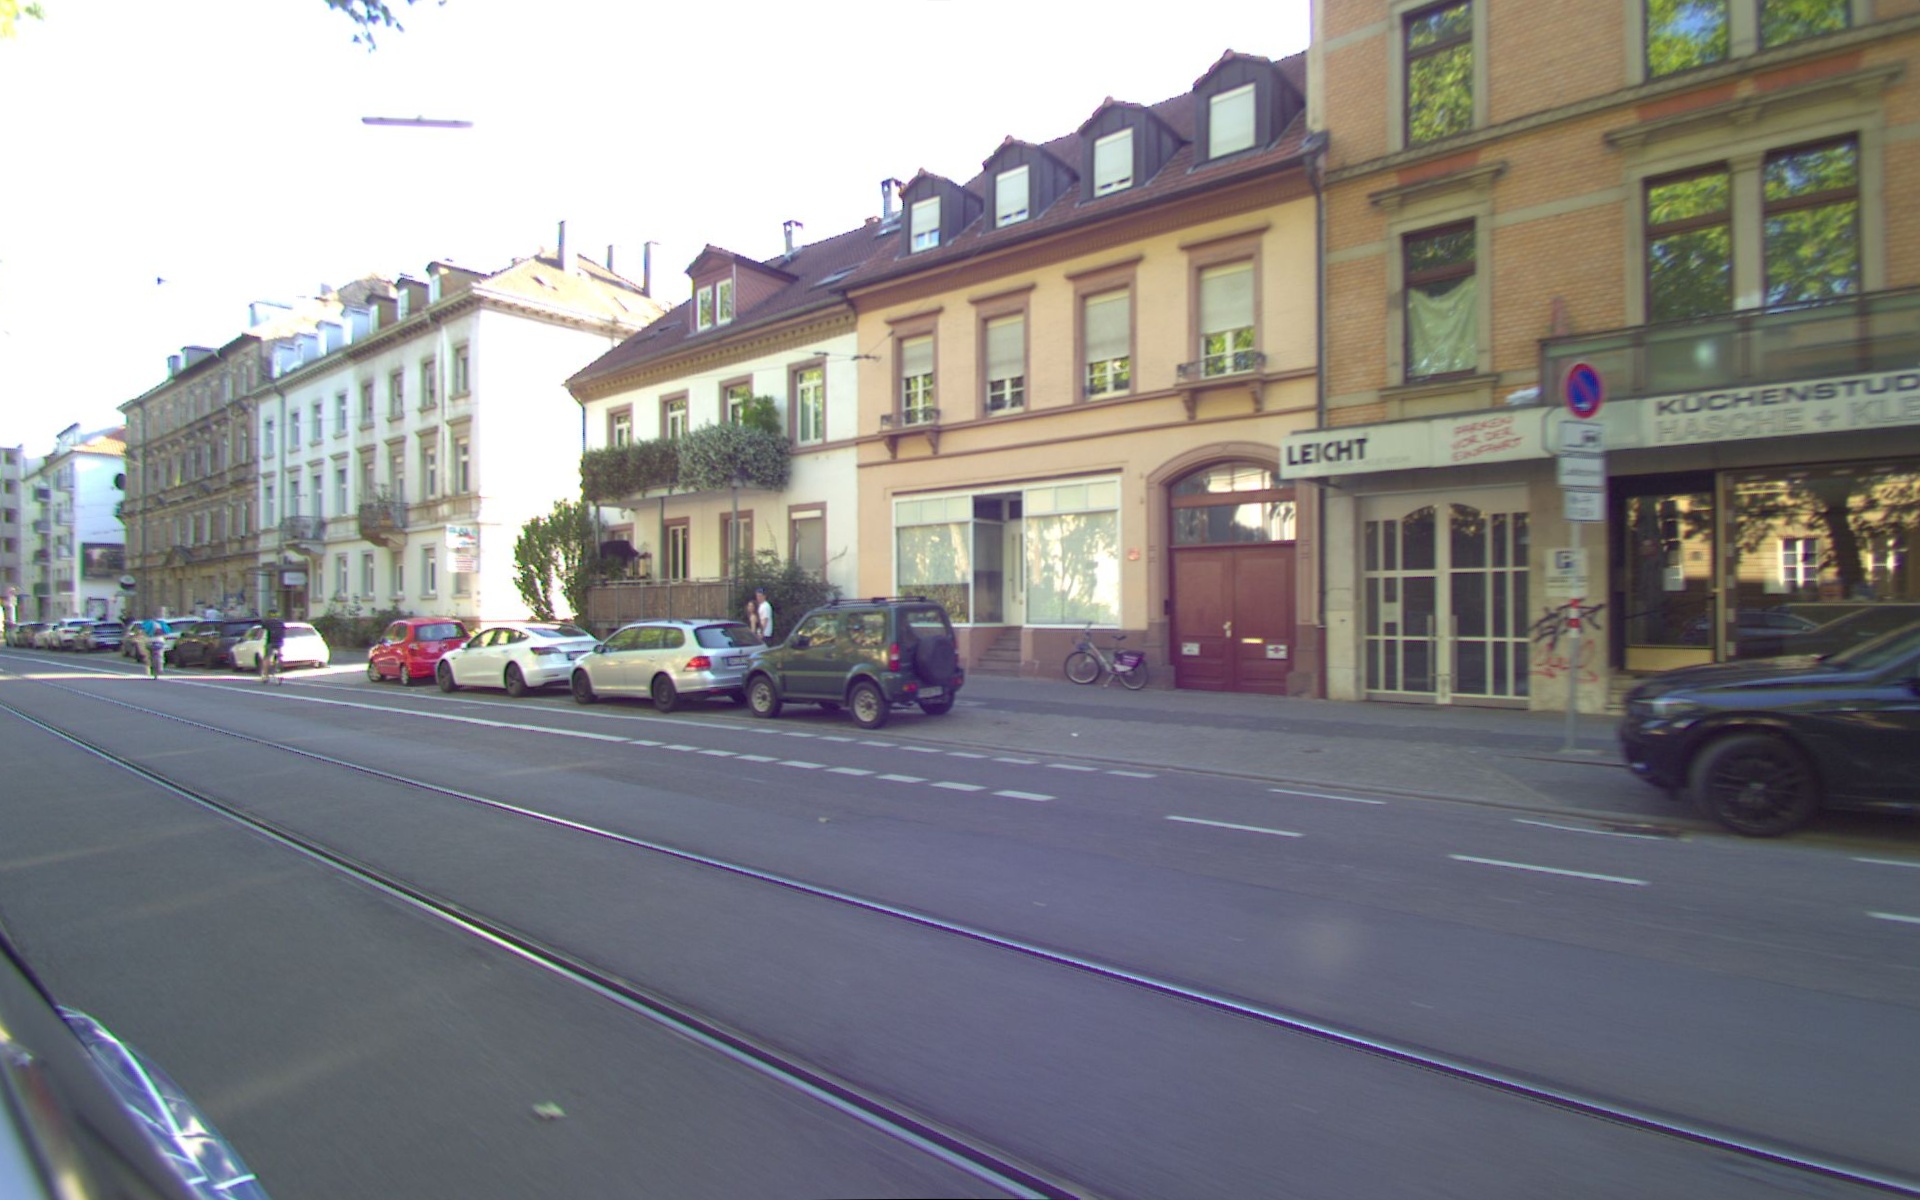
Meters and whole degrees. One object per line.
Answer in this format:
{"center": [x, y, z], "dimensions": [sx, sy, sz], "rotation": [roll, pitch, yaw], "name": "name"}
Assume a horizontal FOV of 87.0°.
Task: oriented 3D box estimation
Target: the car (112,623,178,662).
{"center": [-33.212, 1.706, 41.222], "dimensions": [3.923, 1.527, 1.537], "rotation": [-2, -2, 43], "name": "car"}

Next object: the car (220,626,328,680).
{"center": [-21.129, 1.575, 31.114], "dimensions": [4.255, 1.488, 1.670], "rotation": [-1, 0, 40], "name": "car"}

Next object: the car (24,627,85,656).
{"center": [-48.803, 2.212, 54.527], "dimensions": [3.992, 1.431, 1.684], "rotation": [-1, 0, 36], "name": "car"}

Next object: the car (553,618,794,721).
{"center": [-5.052, 1.118, 17.546], "dimensions": [4.445, 1.514, 1.809], "rotation": [-1, 0, 40], "name": "car"}

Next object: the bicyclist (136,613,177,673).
{"center": [-20.804, 1.092, 26.191], "dimensions": [1.069, 1.515, 0.631], "rotation": [-1, -2, 42], "name": "bicyclist"}

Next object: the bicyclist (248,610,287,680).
{"center": [-16.560, 1.068, 24.198], "dimensions": [0.896, 1.647, 0.529], "rotation": [-1, -3, 42], "name": "bicyclist"}

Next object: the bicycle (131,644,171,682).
{"center": [-21.038, 1.626, 26.304], "dimensions": [1.921, 0.950, 0.493], "rotation": [-1, -3, 42], "name": "bicycle"}

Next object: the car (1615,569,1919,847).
{"center": [7.541, 0.682, 6.952], "dimensions": [4.932, 1.795, 1.945], "rotation": [-1, 2, 39], "name": "car"}

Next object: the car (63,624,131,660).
{"center": [-40.652, 1.948, 47.648], "dimensions": [4.059, 1.532, 1.646], "rotation": [-1, 0, 38], "name": "car"}

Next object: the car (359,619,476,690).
{"center": [-13.154, 1.267, 24.486], "dimensions": [3.450, 1.574, 1.551], "rotation": [-2, -2, 44], "name": "car"}

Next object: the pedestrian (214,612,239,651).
{"center": [-32.824, 1.406, 45.301], "dimensions": [0.653, 1.678, 0.771], "rotation": [-1, 0, -18], "name": "pedestrian"}

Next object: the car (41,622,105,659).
{"center": [-44.900, 1.989, 51.189], "dimensions": [4.715, 1.736, 1.768], "rotation": [-1, 0, 40], "name": "car"}

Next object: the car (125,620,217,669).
{"center": [-29.544, 1.617, 37.841], "dimensions": [4.760, 1.716, 1.837], "rotation": [-1, -2, 41], "name": "car"}

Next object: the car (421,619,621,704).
{"center": [-9.175, 1.204, 20.989], "dimensions": [4.682, 1.514, 1.809], "rotation": [-1, 0, 38], "name": "car"}

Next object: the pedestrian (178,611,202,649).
{"center": [-37.560, 1.439, 49.342], "dimensions": [0.829, 1.835, 0.752], "rotation": [-1, -1, 37], "name": "pedestrian"}

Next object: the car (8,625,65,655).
{"center": [-52.904, 2.251, 57.965], "dimensions": [4.781, 1.574, 1.724], "rotation": [-1, 0, 39], "name": "car"}

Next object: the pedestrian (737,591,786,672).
{"center": [-4.124, 0.637, 21.020], "dimensions": [0.653, 1.646, 0.768], "rotation": [-1, 0, 25], "name": "pedestrian"}

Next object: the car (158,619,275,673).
{"center": [-25.316, 1.529, 34.412], "dimensions": [4.649, 1.716, 1.840], "rotation": [-1, -1, 35], "name": "car"}

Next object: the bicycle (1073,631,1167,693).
{"center": [2.767, 1.055, 17.615], "dimensions": [1.722, 1.022, 0.295], "rotation": [-1, -2, 41], "name": "bicycle"}

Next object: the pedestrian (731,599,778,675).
{"center": [-4.092, 0.729, 20.145], "dimensions": [0.653, 1.471, 0.632], "rotation": [-1, 0, 24], "name": "pedestrian"}

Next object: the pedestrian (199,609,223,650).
{"center": [-37.103, 1.457, 50.129], "dimensions": [0.829, 2.029, 0.752], "rotation": [-1, -1, 38], "name": "pedestrian"}

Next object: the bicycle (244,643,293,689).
{"center": [-16.534, 1.556, 24.172], "dimensions": [2.039, 1.055, 0.479], "rotation": [-1, -3, 42], "name": "bicycle"}

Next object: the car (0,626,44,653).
{"center": [-56.984, 2.370, 61.256], "dimensions": [4.041, 1.503, 1.724], "rotation": [-1, 0, 39], "name": "car"}

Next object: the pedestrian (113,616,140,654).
{"center": [-41.635, 1.745, 50.548], "dimensions": [1.053, 1.814, 0.678], "rotation": [-1, 0, 31], "name": "pedestrian"}

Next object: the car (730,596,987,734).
{"center": [-1.547, 0.862, 14.675], "dimensions": [3.682, 1.745, 1.540], "rotation": [-1, 0, 40], "name": "car"}
